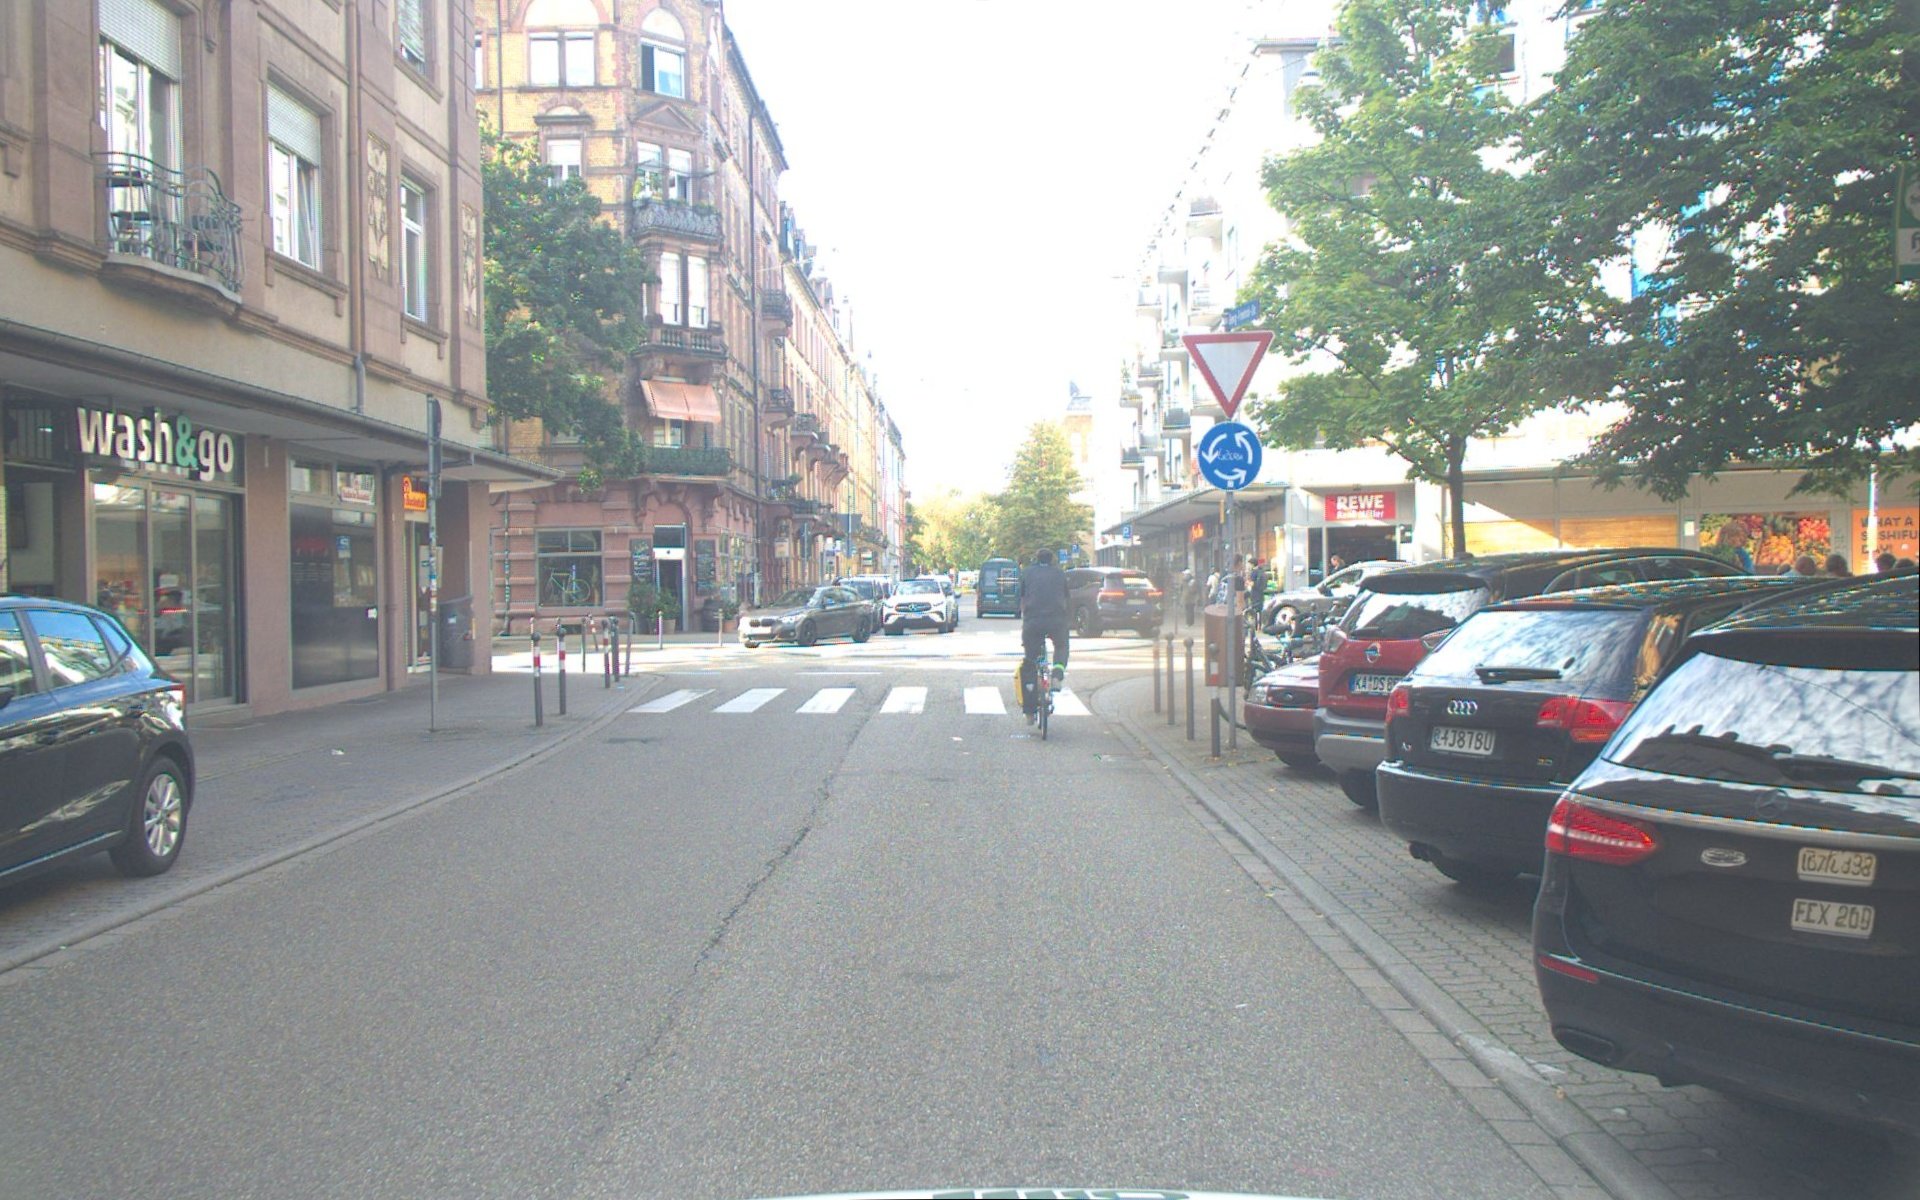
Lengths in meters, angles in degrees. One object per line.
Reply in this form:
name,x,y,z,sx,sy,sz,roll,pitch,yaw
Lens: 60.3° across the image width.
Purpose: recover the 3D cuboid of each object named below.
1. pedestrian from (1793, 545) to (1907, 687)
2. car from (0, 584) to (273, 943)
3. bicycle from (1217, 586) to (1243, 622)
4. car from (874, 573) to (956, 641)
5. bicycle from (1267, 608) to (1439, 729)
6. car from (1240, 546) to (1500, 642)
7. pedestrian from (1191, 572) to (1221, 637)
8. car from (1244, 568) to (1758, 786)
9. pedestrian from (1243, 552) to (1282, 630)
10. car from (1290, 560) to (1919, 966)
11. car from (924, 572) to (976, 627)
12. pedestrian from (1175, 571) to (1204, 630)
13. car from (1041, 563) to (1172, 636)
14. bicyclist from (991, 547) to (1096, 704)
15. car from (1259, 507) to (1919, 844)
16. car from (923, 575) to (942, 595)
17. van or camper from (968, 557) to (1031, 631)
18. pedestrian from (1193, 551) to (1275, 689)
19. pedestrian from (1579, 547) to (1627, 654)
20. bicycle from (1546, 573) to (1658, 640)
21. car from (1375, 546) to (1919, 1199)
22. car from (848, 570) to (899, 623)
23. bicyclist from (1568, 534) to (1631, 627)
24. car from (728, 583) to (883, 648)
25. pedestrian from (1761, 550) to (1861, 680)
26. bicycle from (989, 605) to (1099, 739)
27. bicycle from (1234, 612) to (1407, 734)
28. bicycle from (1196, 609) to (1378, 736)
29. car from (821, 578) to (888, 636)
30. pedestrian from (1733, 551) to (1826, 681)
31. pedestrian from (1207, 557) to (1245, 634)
pedestrian,9.267,0.157,17.247,0.781,1.431,0.702,-1,0,-4
car,-4.868,0.678,7.214,1.953,1.445,4.244,-1,1,0
bicycle,8.037,0.111,49.254,0.356,1.034,1.429,-1,0,-7
car,-1.302,0.173,49.834,1.902,1.751,4.853,-3,2,4
bicycle,3.721,0.635,15.845,0.343,1.058,2.001,-5,1,-26
car,8.285,-0.119,33.711,2.028,1.754,4.765,-4,3,-44
pedestrian,6.605,0.117,44.419,0.725,1.742,0.734,-1,0,11
car,4.385,0.520,13.336,3.886,1.482,1.754,-1,1,-28
pedestrian,7.476,-0.227,40.881,0.850,1.883,0.613,-1,0,5
car,3.950,0.564,7.953,4.344,1.482,1.928,-2,1,-25
car,-0.345,-0.035,59.907,1.756,1.821,4.736,-2,0,0
pedestrian,6.584,0.018,47.445,0.729,1.657,0.813,-1,0,11
car,3.487,-0.025,40.102,1.960,1.646,3.985,-1,1,-14
bicyclist,0.835,0.243,16.356,0.913,1.509,0.748,0,0,13
car,4.252,0.351,10.702,4.288,1.673,1.806,-4,1,-26
car,-2.922,-1.592,175.751,1.953,2.049,4.000,-1,1,0
van or camper,1.703,-0.287,72.477,2.480,3.090,4.457,-1,1,-2
pedestrian,3.691,0.260,22.275,0.769,1.811,0.789,-1,0,39
pedestrian,10.871,0.009,27.995,0.615,1.769,0.776,-1,0,13
bicycle,12.082,0.120,31.175,1.928,1.220,0.712,-1,0,20
car,3.698,0.569,4.763,4.699,1.482,2.038,-4,2,-28
car,-3.514,-0.145,67.830,1.953,2.049,3.999,-2,1,-2
bicyclist,12.053,-0.371,31.179,0.991,1.697,0.944,-1,0,16
car,-3.663,0.361,39.863,1.716,1.461,4.206,0,0,28
pedestrian,9.219,0.155,17.928,0.741,1.366,0.596,-1,0,-4
bicycle,0.873,0.663,16.389,0.651,1.198,2.499,0,0,13
bicycle,3.377,0.670,15.668,0.454,1.058,1.839,-5,1,-28
bicycle,2.998,0.652,15.344,0.542,1.058,1.839,-5,1,-28
car,-3.509,0.195,55.913,1.745,1.754,4.447,0,2,3
pedestrian,9.163,0.174,18.513,0.741,1.417,0.548,-1,0,-4
pedestrian,6.603,-0.113,41.035,0.850,1.883,0.613,-1,0,5
